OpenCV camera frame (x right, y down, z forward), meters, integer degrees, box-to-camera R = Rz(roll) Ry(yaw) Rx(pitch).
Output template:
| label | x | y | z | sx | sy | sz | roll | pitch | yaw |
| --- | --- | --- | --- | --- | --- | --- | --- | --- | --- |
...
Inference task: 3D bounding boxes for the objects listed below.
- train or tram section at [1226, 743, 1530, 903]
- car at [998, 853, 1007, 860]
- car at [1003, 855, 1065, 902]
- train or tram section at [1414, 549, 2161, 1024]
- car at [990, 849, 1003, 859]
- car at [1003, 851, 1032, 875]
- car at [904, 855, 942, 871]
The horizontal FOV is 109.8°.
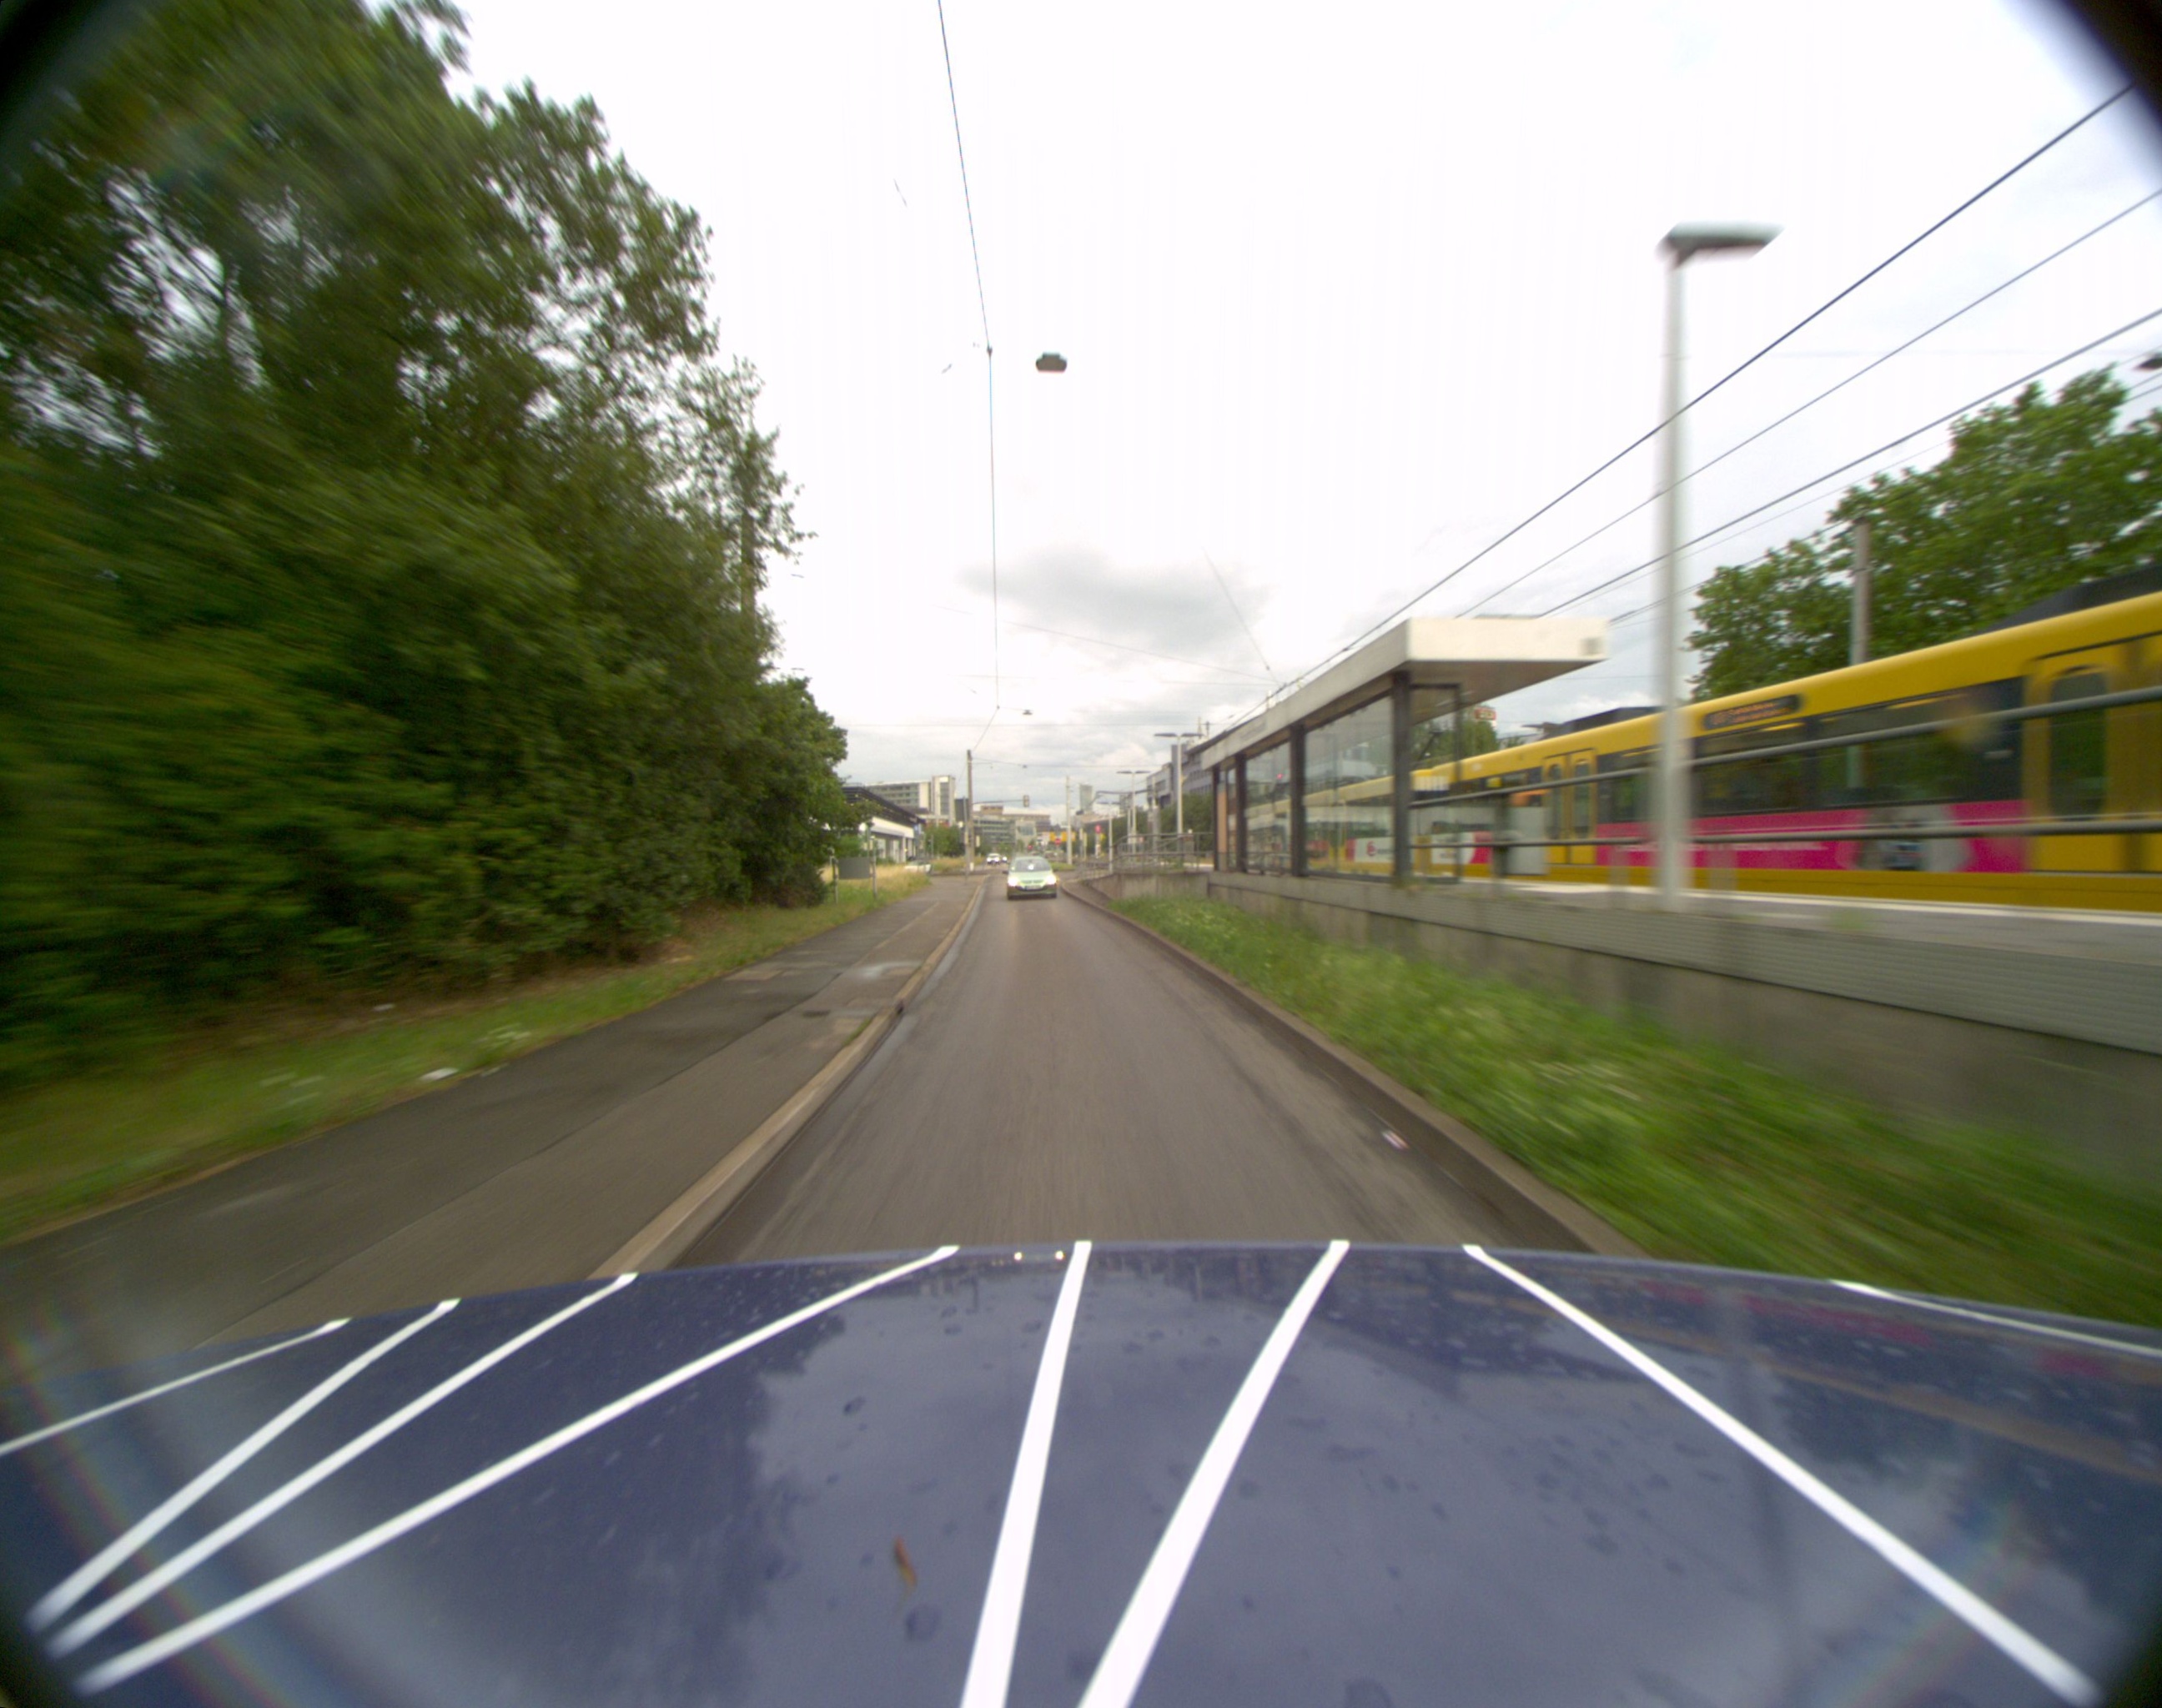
| label | x | y | z | sx | sy | sz | roll | pitch | yaw |
| --- | --- | --- | --- | --- | --- | --- | --- | --- | --- |
| train or tram section | 9.515 | -0.940 | 29.191 | 2.876 | 3.950 | 19.321 | -4 | 1 | -3 |
| car | -15.118 | 0.462 | 146.302 | 1.702 | 1.429 | 3.963 | -1 | 0 | -6 |
| car | -1.642 | 0.838 | 27.727 | 1.780 | 1.493 | 4.000 | 0 | 1 | 3 |
| train or tram section | 10.308 | -0.677 | 9.890 | 2.875 | 3.931 | 19.324 | -3 | 1 | -1 |
| car | -13.792 | 0.051 | 123.898 | 1.994 | 1.531 | 4.107 | -2 | 1 | -6 |
| car | -4.286 | 0.574 | 51.814 | 1.781 | 1.493 | 3.999 | -1 | 0 | -2 |
| car | -16.868 | 0.961 | 81.251 | 1.990 | 1.531 | 4.115 | -1 | 1 | 21 |
